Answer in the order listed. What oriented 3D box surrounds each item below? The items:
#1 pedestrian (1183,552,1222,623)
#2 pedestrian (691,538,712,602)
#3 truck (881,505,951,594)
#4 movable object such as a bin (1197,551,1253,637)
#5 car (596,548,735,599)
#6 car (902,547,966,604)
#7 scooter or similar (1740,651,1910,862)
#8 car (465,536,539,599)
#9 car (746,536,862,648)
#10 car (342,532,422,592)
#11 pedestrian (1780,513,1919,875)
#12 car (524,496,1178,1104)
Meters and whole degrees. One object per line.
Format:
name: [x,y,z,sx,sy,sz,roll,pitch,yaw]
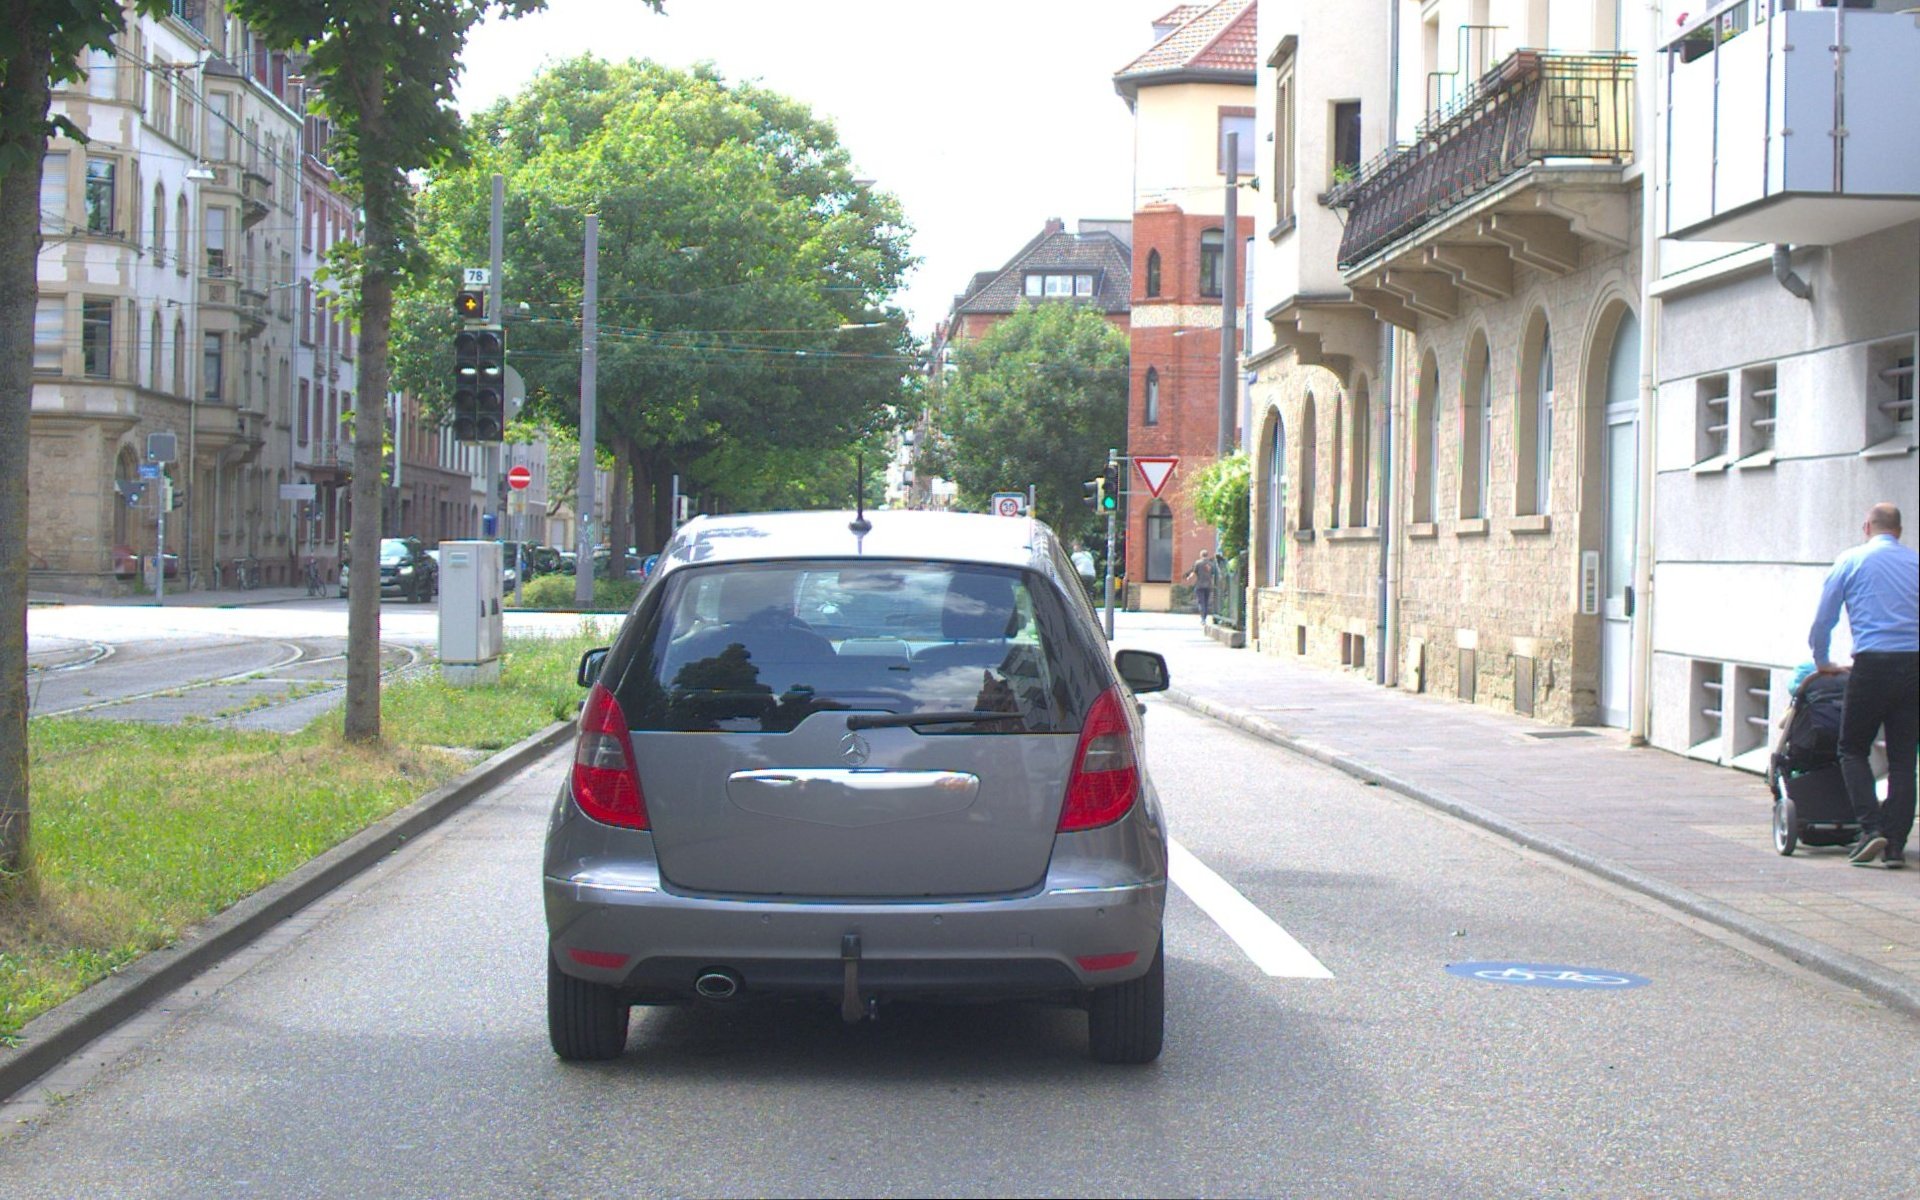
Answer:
pedestrian: [5.751,-0.302,81.661,0.869,1.651,0.736,1,1,3]
pedestrian: [-7.060,-0.824,93.873,0.493,1.719,0.654,1,1,-8]
truck: [-1.482,-1.706,116.910,2.123,2.960,4.000,1,1,2]
movable object such as a bin: [4.588,-0.112,59.569,0.714,1.467,0.983,0,1,-10]
car: [-8.465,-0.764,98.583,1.969,1.334,3.999,1,1,-40]
car: [-0.766,-0.752,103.978,1.752,1.627,3.499,1,1,2]
scooter or similar: [4.428,0.790,17.642,0.592,0.998,0.906,-3,1,-1]
car: [-12.941,-0.933,97.231,1.993,1.722,4.001,0,1,-7]
car: [-2.461,-0.145,54.891,1.722,1.700,3.677,1,1,-1]
car: [-16.063,-1.055,95.690,1.993,1.612,4.001,0,1,-7]
pedestrian: [4.449,0.442,16.890,0.621,1.733,0.877,0,1,-1]
car: [-0.310,0.510,10.969,1.722,1.600,3.677,1,1,-1]
